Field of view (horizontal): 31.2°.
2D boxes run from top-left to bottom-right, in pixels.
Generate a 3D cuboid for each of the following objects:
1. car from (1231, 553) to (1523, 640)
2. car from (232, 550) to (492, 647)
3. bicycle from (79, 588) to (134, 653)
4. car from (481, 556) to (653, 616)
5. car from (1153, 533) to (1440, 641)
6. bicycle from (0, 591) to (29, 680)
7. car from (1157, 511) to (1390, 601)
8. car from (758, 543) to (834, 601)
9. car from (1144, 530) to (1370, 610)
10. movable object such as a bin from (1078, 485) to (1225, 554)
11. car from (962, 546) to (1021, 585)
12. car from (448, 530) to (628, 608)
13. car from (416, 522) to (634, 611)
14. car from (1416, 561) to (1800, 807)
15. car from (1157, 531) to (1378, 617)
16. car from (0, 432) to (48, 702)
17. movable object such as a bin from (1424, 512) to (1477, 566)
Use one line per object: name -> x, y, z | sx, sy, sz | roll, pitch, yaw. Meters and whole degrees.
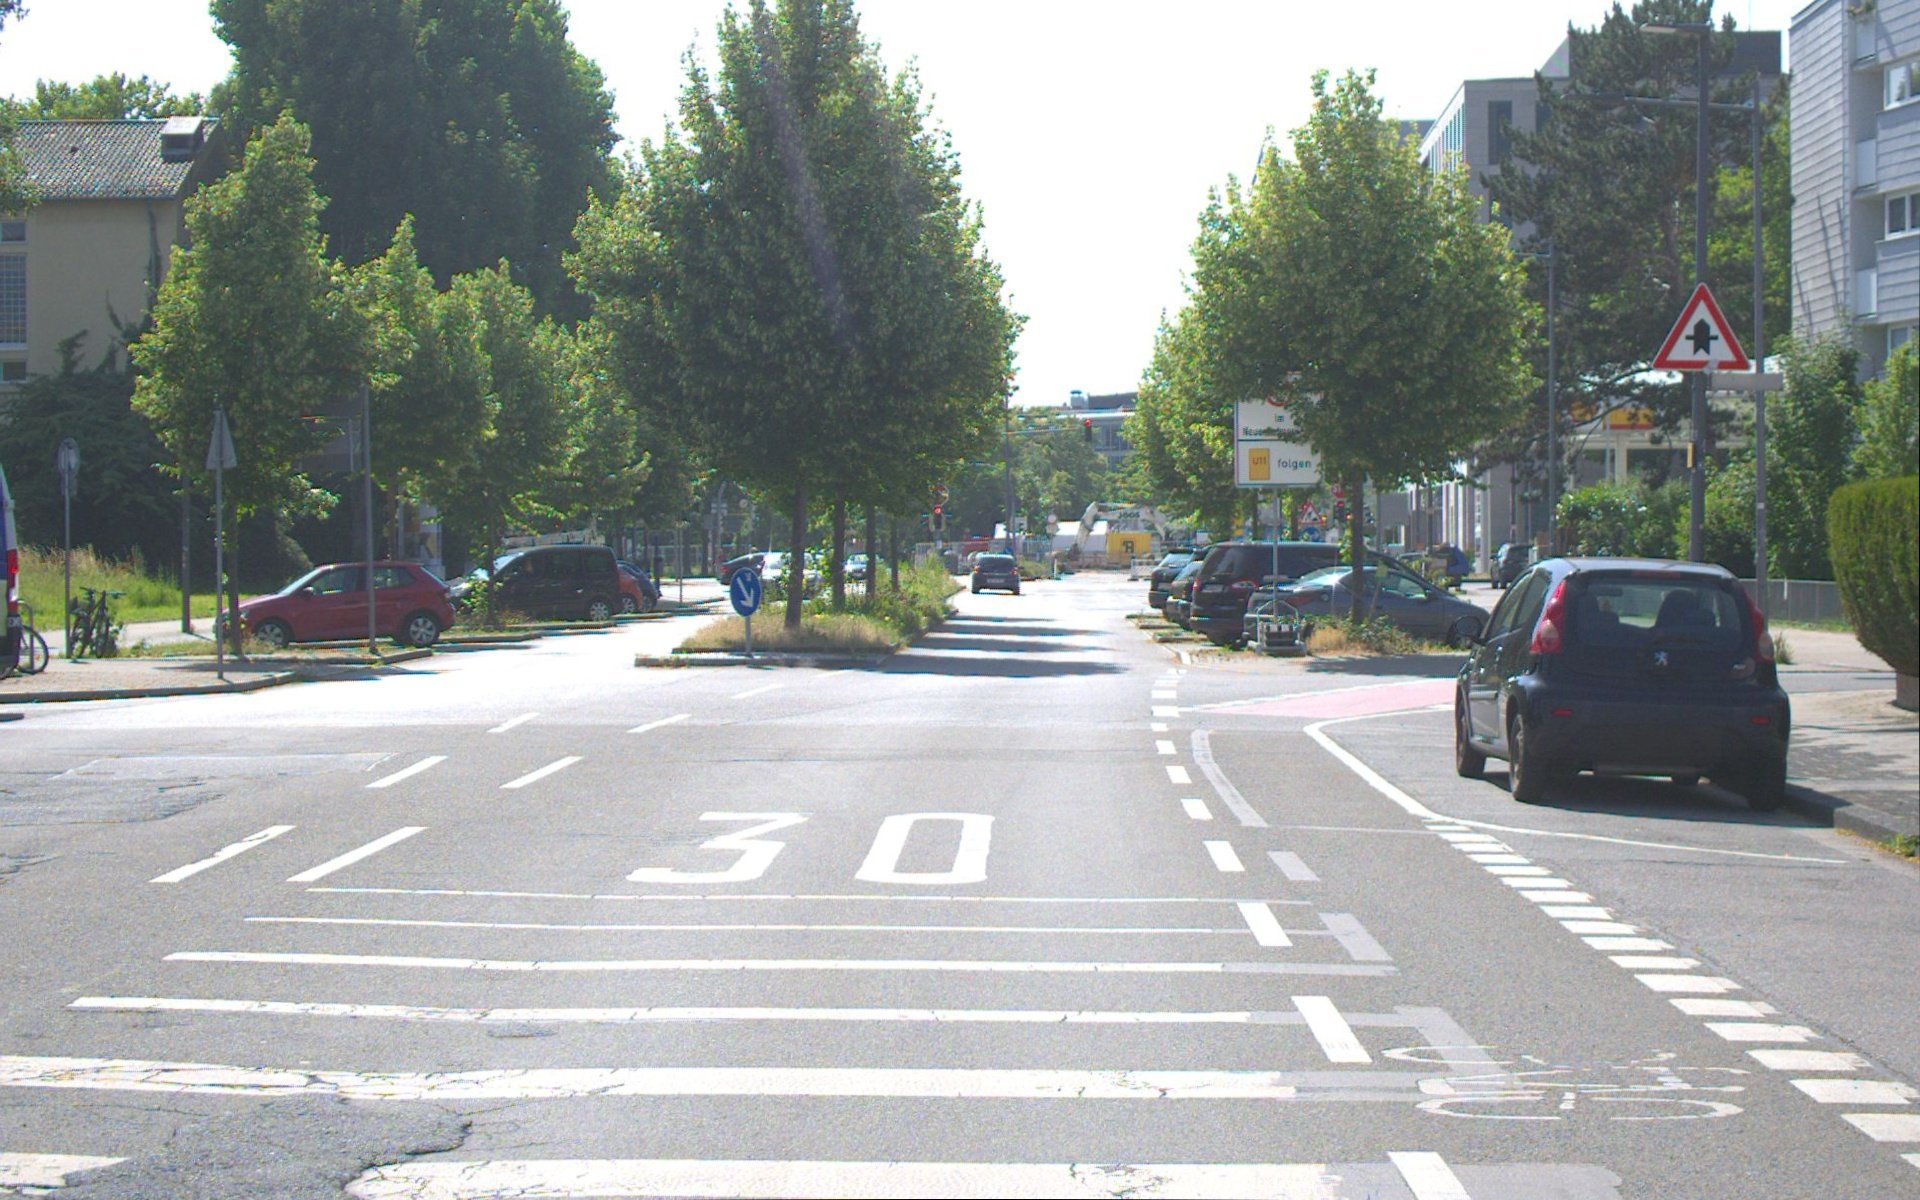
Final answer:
car -> 6.225, -0.070, 51.272 | 3.986, 1.232, 1.753 | -1, 1, -24
car -> -10.067, -0.048, 57.811 | 3.986, 1.461, 2.001 | -2, 2, -19
bicycle -> -12.268, 0.287, 49.451 | 0.520, 0.900, 1.271 | -1, 0, -3
car -> -9.644, -0.357, 84.476 | 3.830, 1.418, 1.715 | -1, 1, -34
car -> 5.314, -0.231, 54.224 | 4.107, 1.634, 2.044 | -1, 1, -31
bicycle -> -12.020, 0.429, 39.249 | 2.544, 0.984, 0.739 | -1, 1, -1
car -> 5.875, -0.841, 64.512 | 3.986, 1.634, 1.753 | -1, 2, -18
car -> -4.574, -0.796, 96.462 | 1.741, 1.542, 4.073 | -2, 1, 2
car -> 6.378, -0.665, 73.665 | 4.731, 1.654, 1.753 | -1, 1, -32
movable object such as a bin -> 12.689, -5.346, 227.712 | 9.676, 4.534, 3.164 | 0, 1, 4
car -> 1.142, -1.277, 125.751 | 1.993, 1.393, 4.000 | 0, 1, -2
car -> -9.803, -0.736, 79.912 | 3.761, 1.766, 1.819 | -1, 1, -26
car -> -9.341, -0.737, 73.876 | 4.176, 1.810, 2.004 | -2, 2, -36
car -> 3.996, 0.460, 21.783 | 1.617, 1.385, 4.000 | 1, 1, -1
car -> 6.022, -0.520, 67.455 | 3.986, 1.634, 1.753 | 0, 1, -10
car -> -11.989, -0.240, 32.634 | 6.120, 2.515, 2.281 | -1, 1, 18
movable object such as a bin -> 15.019, -1.866, 105.321 | 1.307, 1.586, 1.396 | -3, 1, -1
